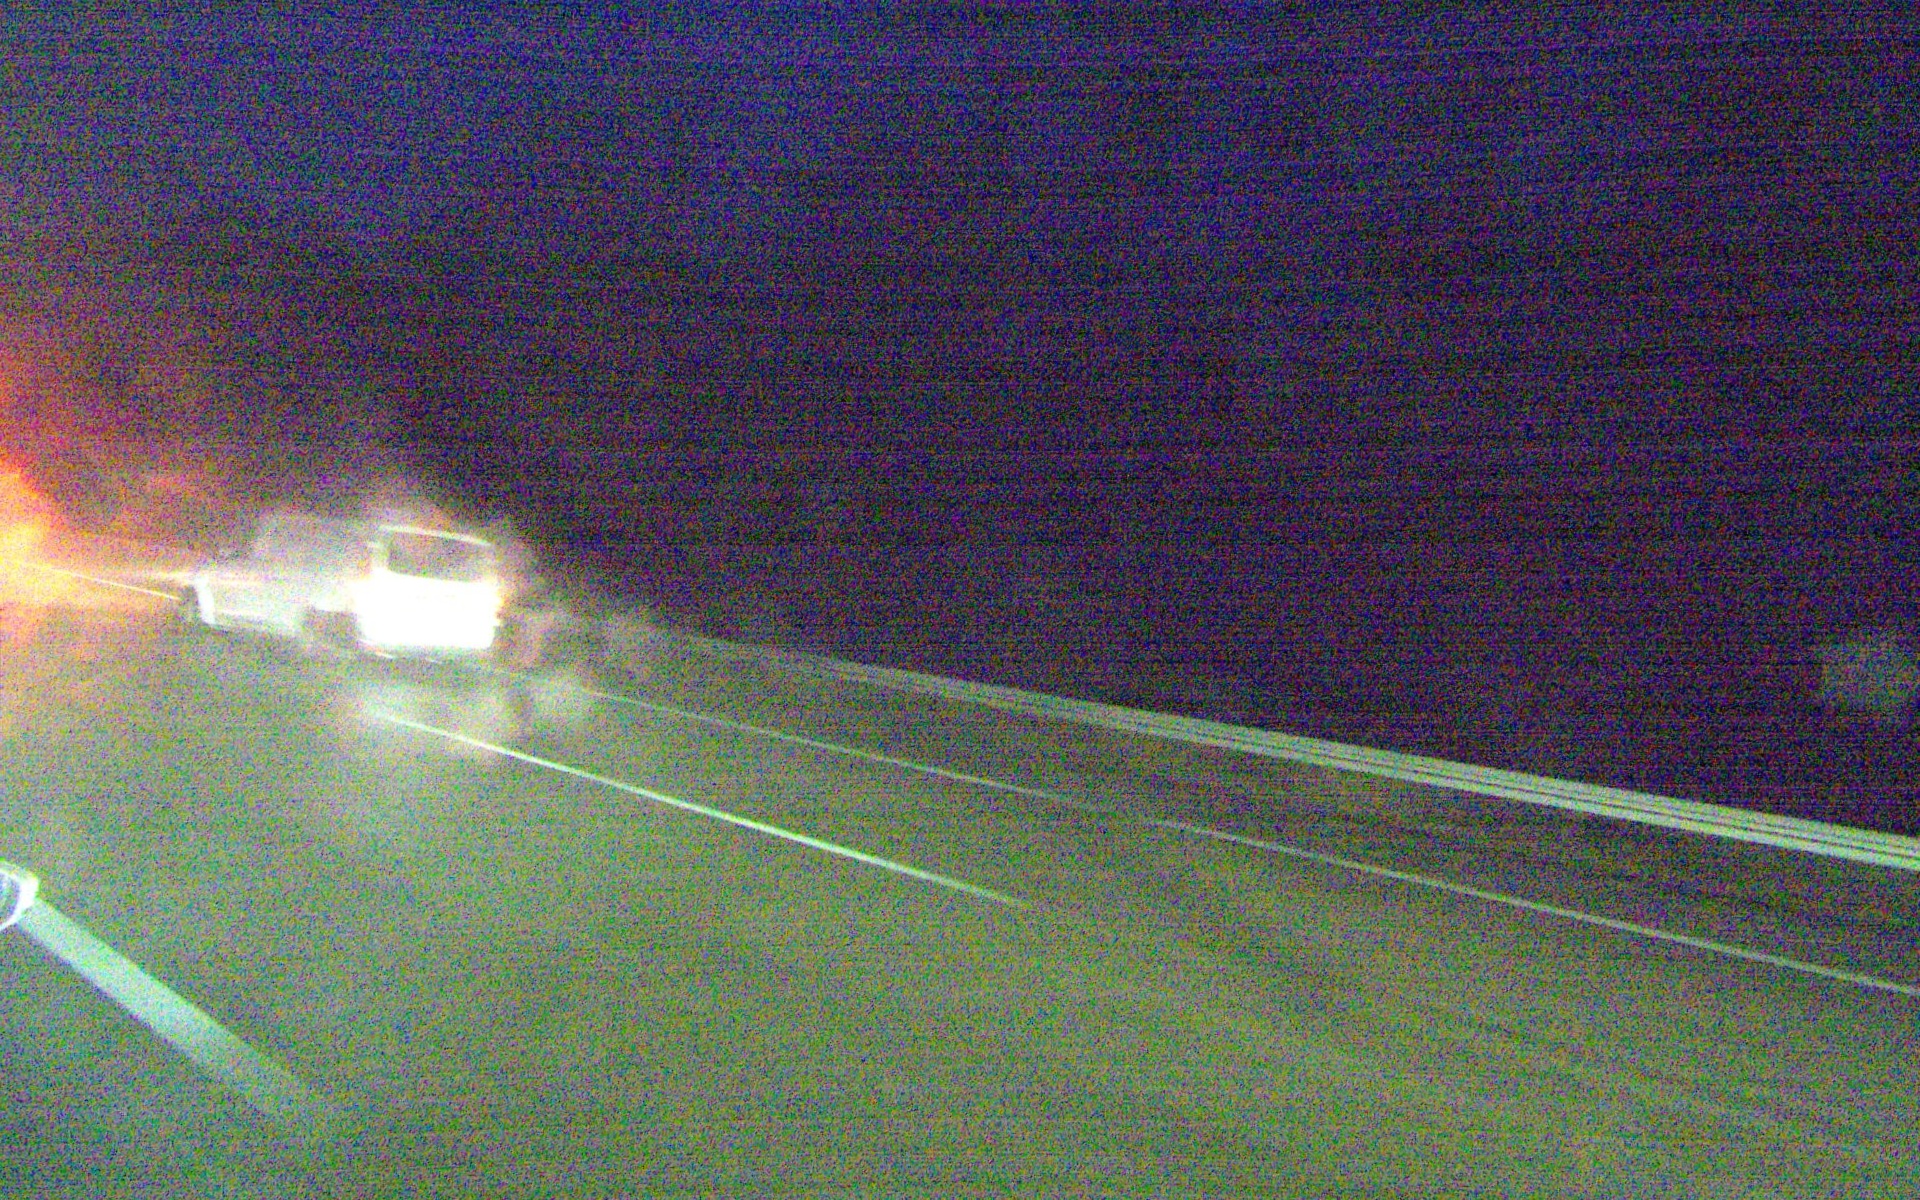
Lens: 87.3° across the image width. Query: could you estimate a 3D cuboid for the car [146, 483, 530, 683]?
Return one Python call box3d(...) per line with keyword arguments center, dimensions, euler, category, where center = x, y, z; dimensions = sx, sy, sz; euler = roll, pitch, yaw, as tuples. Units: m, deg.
box3d(center=(-8.433, -0.295, 13.476), dimensions=(5.316, 2.000, 2.048), euler=(7, 1, 31), category="car")
